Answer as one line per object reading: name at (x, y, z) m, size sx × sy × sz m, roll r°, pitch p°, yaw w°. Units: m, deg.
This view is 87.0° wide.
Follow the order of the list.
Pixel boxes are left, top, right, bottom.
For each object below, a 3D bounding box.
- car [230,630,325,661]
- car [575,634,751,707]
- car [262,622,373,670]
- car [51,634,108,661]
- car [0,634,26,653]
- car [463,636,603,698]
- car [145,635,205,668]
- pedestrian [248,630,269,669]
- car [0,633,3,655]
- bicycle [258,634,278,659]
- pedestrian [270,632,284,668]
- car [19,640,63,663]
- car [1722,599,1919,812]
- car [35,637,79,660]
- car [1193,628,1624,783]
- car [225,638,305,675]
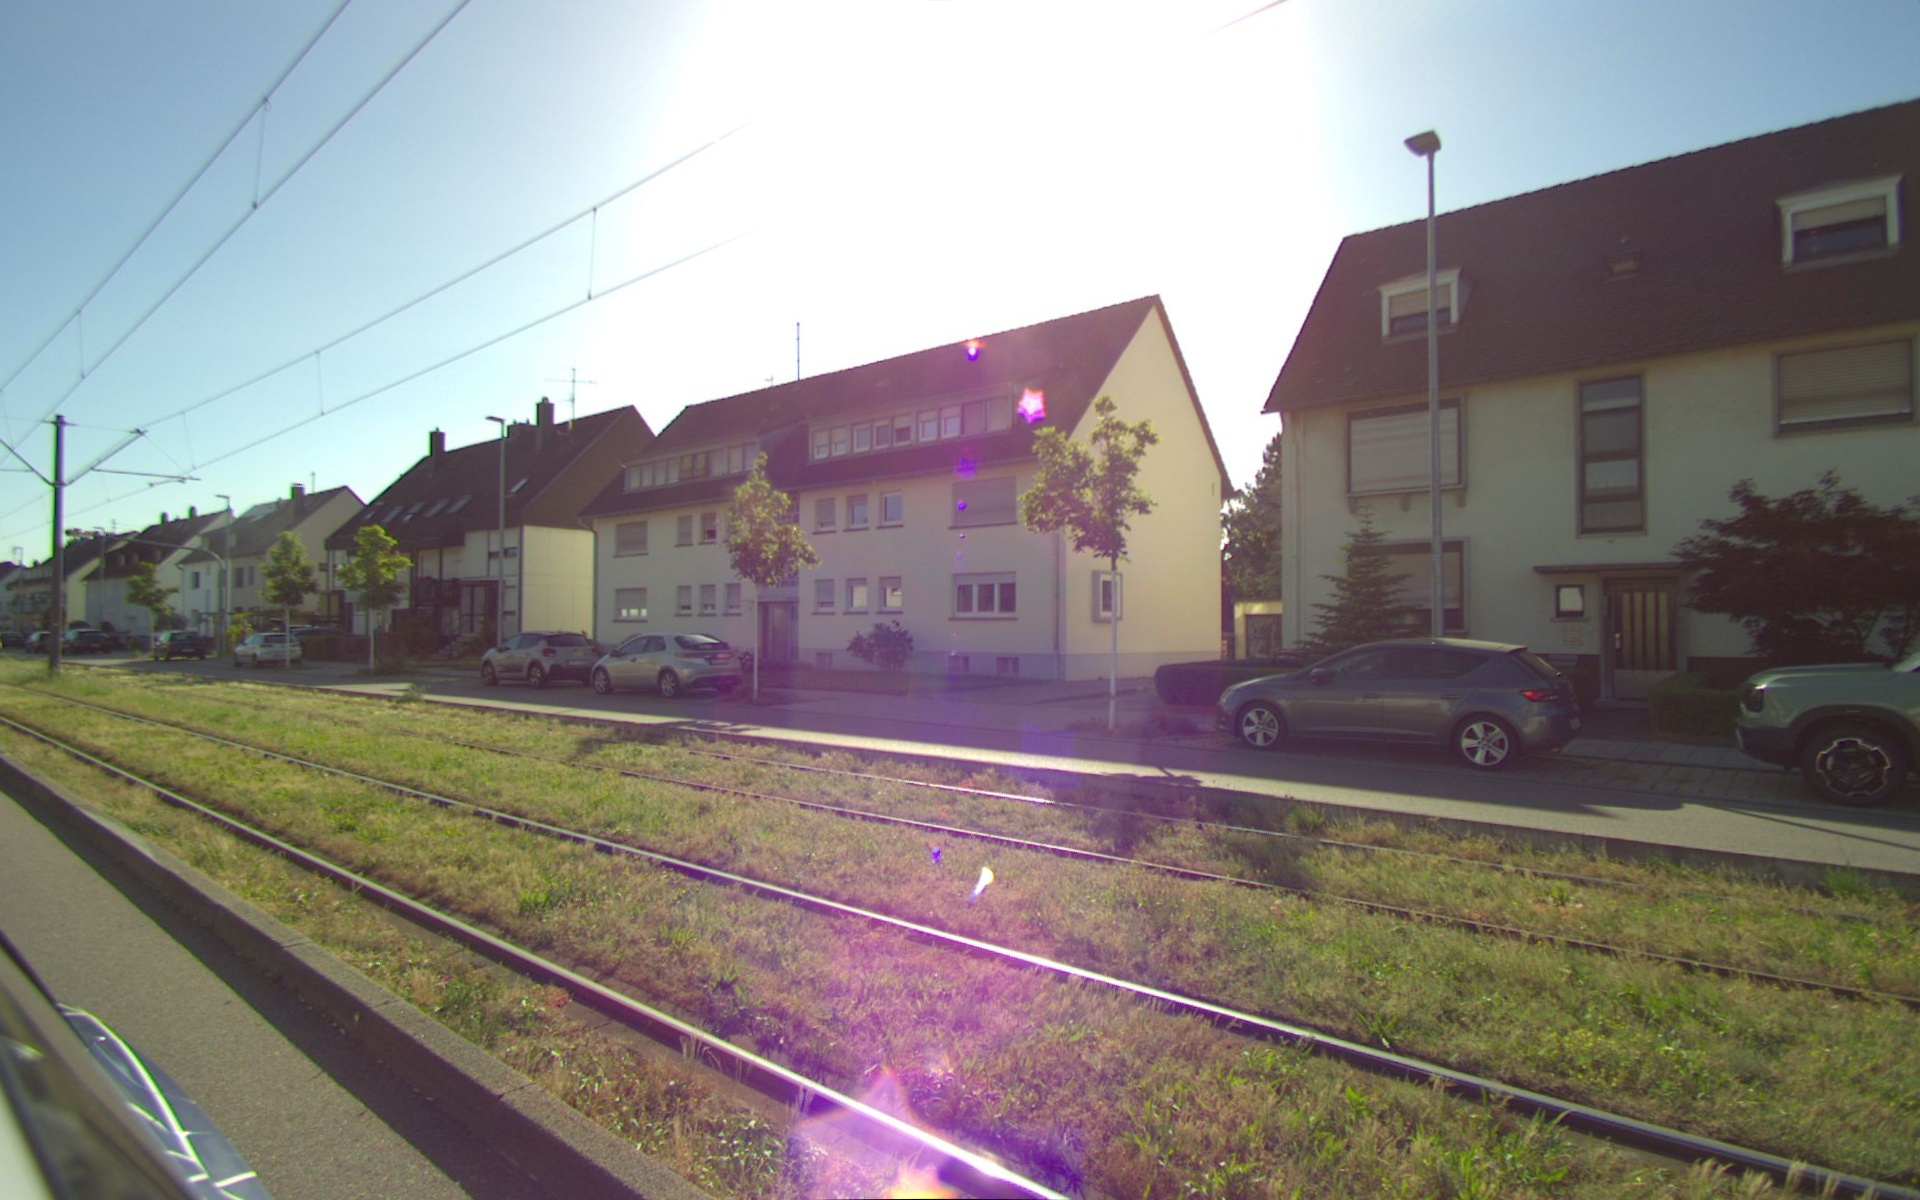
car at (-40.923, 2.704, 60.725) m, size 1.968 × 1.797 × 4.348 m, roll -3°, pitch -3°, yaw 39°
car at (-6.913, 1.554, 23.332) m, size 4.438 × 1.487 × 1.672 m, roll -1°, pitch -1°, yaw 39°
car at (-32.683, 2.289, 51.576) m, size 1.786 × 2.096 × 4.415 m, roll -1°, pitch 1°, yaw 40°
car at (-55.644, 2.983, 63.922) m, size 4.853 × 1.572 × 1.902 m, roll -1°, pitch -1°, yaw 39°
car at (-75.177, 3.446, 79.818) m, size 4.088 × 1.408 × 1.683 m, roll -1°, pitch -1°, yaw 39°
car at (-11.579, 1.734, 27.311) m, size 4.310 × 1.484 × 1.672 m, roll -1°, pitch -1°, yaw 39°
car at (-39.113, 2.553, 50.378) m, size 4.082 × 1.524 × 1.602 m, roll -2°, pitch -2°, yaw 41°
pedestrian at (-33.217, 2.333, 47.915) m, size 0.676 × 1.829 × 0.611 m, roll -1°, pitch -1°, yaw 31°
car at (-65.033, 2.895, 67.164) m, size 3.676 × 1.487 × 1.672 m, roll -1°, pitch -4°, yaw 39°
bicycle at (-32.904, 2.203, 48.113) m, size 0.471 × 1.172 × 1.872 m, roll 0°, pitch -1°, yaw -44°
pedestrian at (-33.276, 2.426, 49.325) m, size 0.544 × 1.701 × 0.625 m, roll 0°, pitch -1°, yaw -35°
car at (-63.776, 3.527, 70.238) m, size 4.396 × 1.466 × 1.637 m, roll -1°, pitch -1°, yaw 39°
car at (9.669, 0.887, 8.704) m, size 4.839 × 1.837 × 1.727 m, roll -2°, pitch -1°, yaw 41°
car at (-59.918, 3.204, 67.139) m, size 3.993 × 1.479 × 1.451 m, roll -2°, pitch -4°, yaw 38°
car at (5.443, 1.149, 12.650) m, size 4.554 × 1.552 × 1.940 m, roll -1°, pitch -1°, yaw 41°
car at (-28.987, 2.329, 42.166) m, size 4.099 × 1.447 × 1.641 m, roll -2°, pitch -2°, yaw 39°
